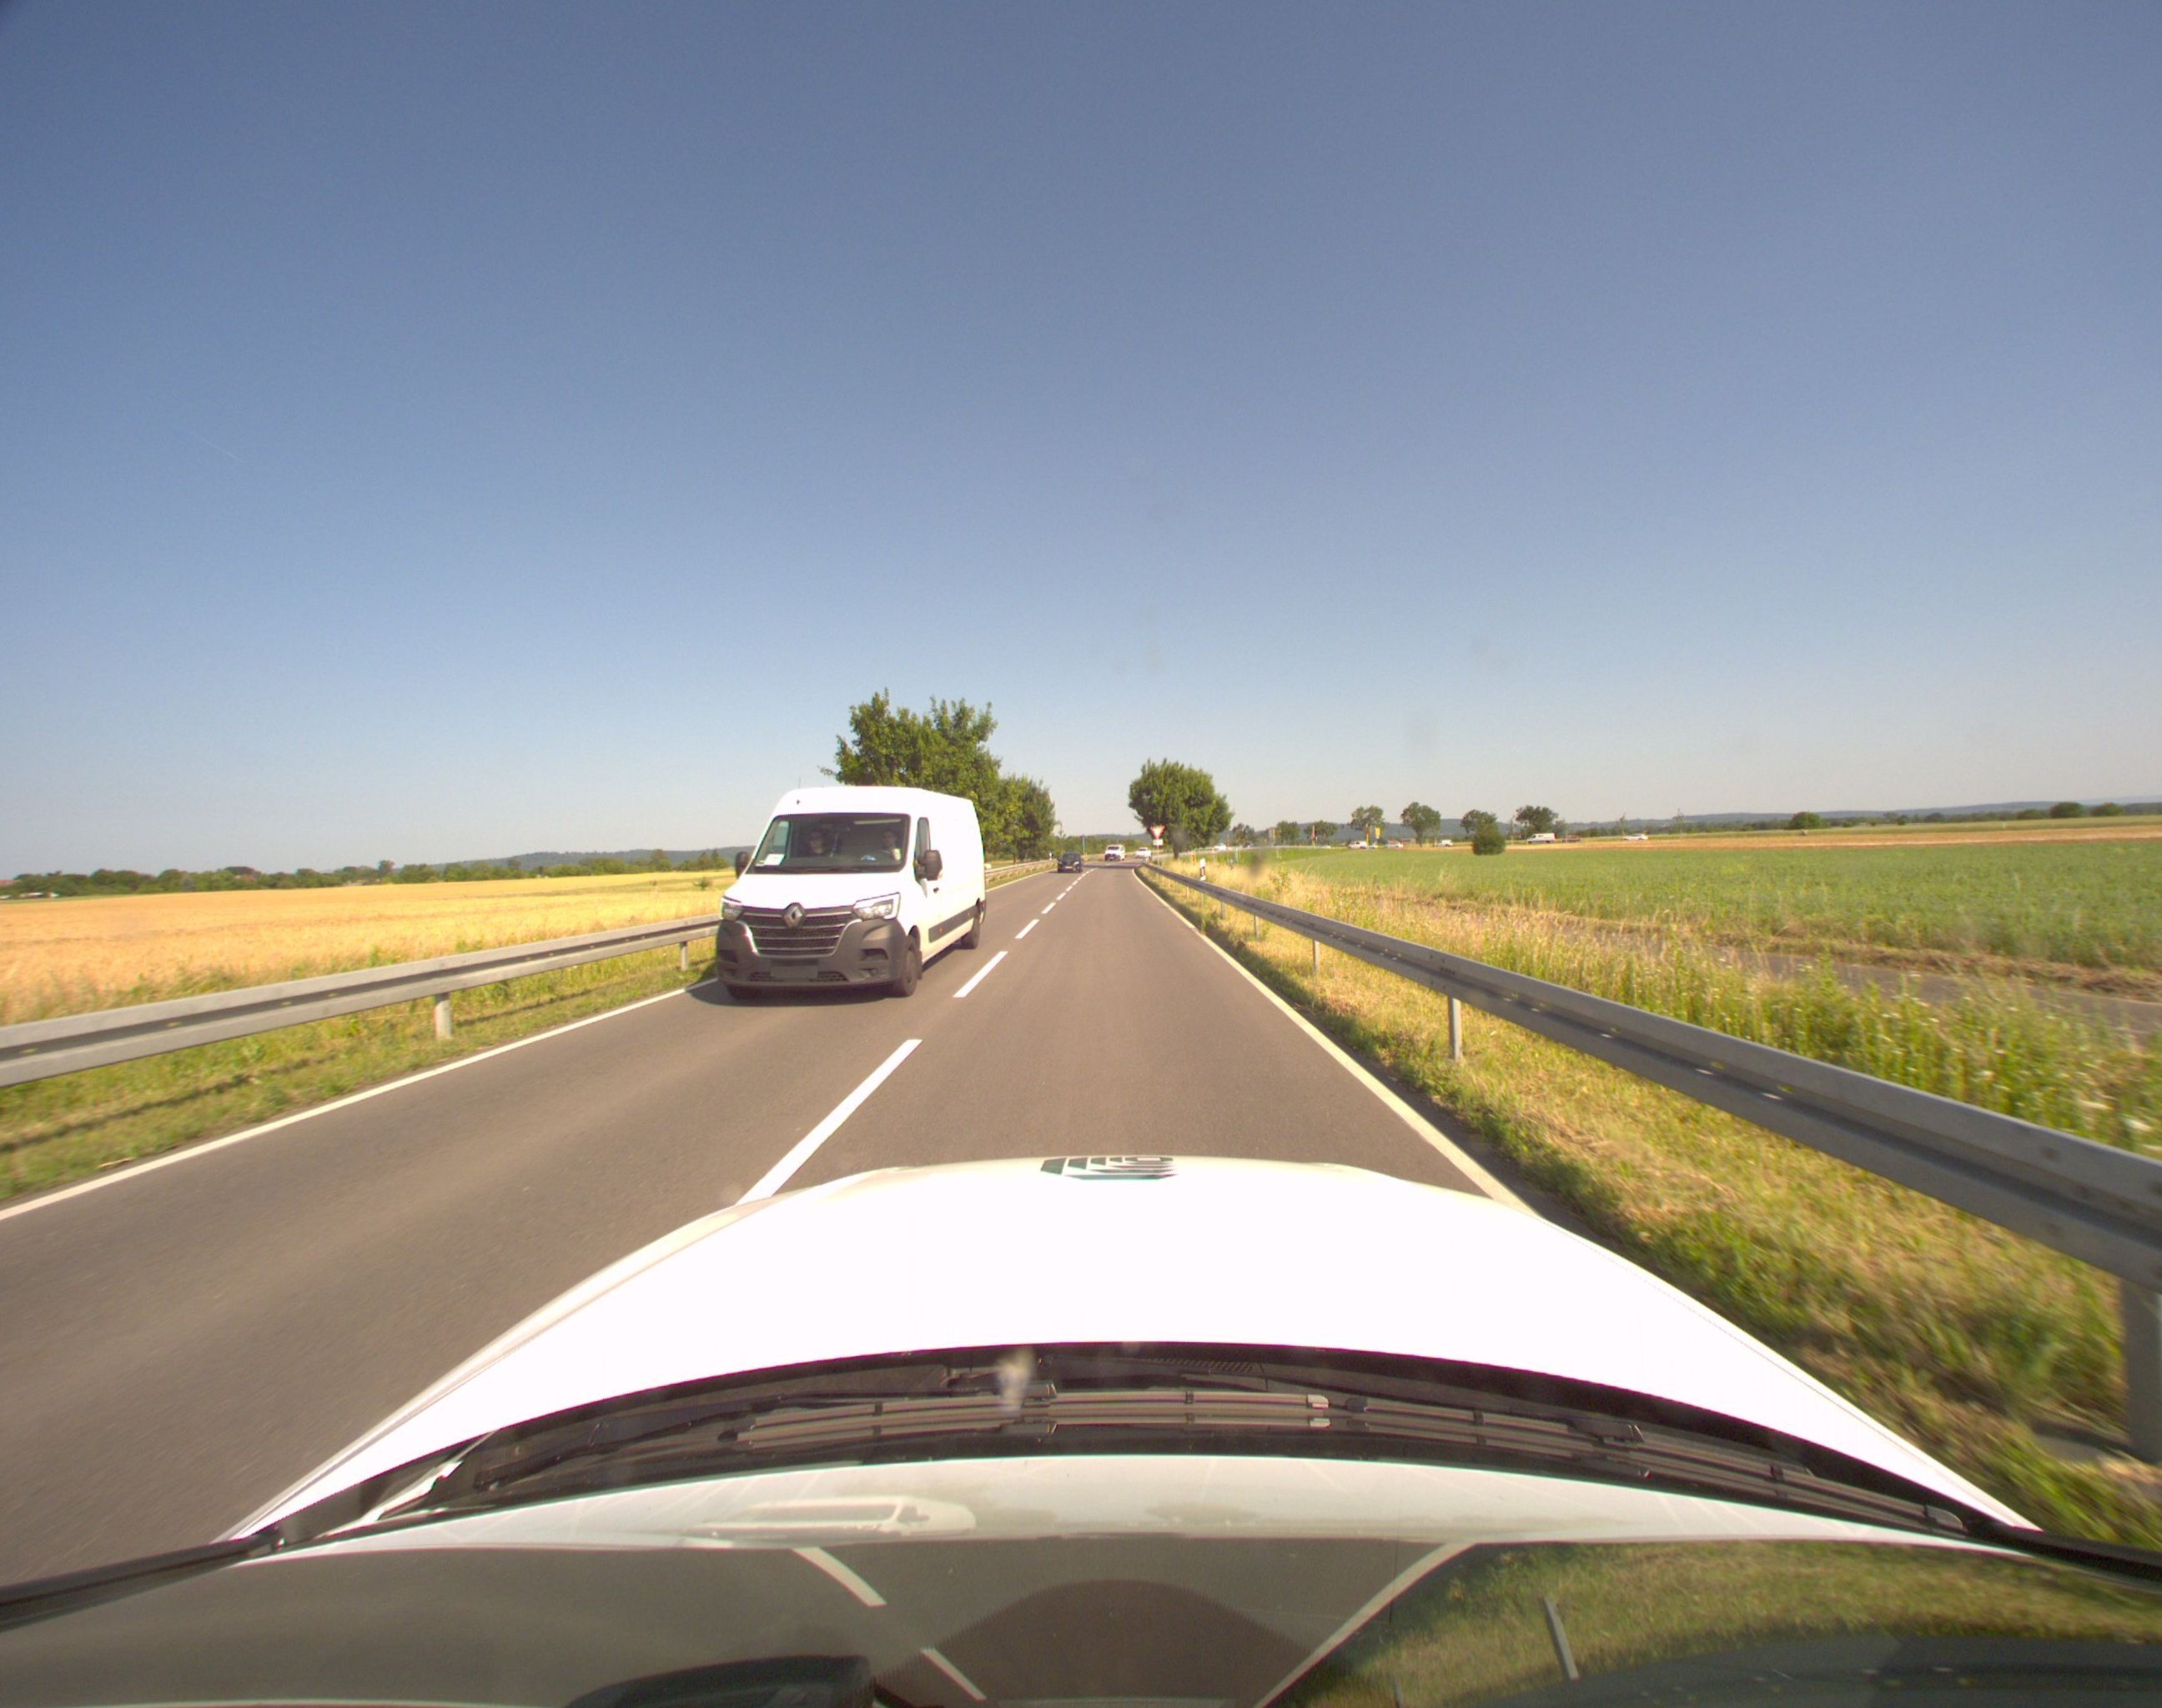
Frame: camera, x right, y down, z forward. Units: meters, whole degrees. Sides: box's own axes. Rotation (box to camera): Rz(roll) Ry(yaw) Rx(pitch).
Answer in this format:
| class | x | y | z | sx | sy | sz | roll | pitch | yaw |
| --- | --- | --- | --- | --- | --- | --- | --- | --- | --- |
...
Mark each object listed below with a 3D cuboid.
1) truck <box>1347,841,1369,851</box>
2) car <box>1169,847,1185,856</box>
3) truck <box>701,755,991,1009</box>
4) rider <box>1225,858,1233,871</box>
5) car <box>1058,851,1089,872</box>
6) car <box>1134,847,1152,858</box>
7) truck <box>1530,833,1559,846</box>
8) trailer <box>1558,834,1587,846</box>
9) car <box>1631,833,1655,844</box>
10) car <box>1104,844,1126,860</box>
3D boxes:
| class | x | y | z | sx | sy | sz | roll | pitch | yaw |
| --- | --- | --- | --- | --- | --- | --- | --- | --- | --- |
| truck | 71.643 | -1.990 | 210.335 | 5.001 | 2.529 | 2.012 | -1 | -1 | 32 |
| car | 16.878 | -0.495 | 142.954 | 1.978 | 1.532 | 4.611 | 0 | 0 | 16 |
| truck | -2.720 | 0.278 | 11.347 | 1.986 | 2.520 | 6.246 | -1 | 0 | 2 |
| rider | 18.415 | 1.327 | 101.492 | 0.604 | 1.527 | 1.835 | -1 | -1 | 22 |
| car | -0.510 | 0.527 | 58.538 | 1.634 | 1.471 | 3.816 | -1 | 0 | 9 |
| car | 9.042 | -0.244 | 118.864 | 1.889 | 1.532 | 4.608 | 0 | 0 | 14 |
| truck | 104.933 | -3.193 | 184.409 | 5.526 | 2.695 | 3.315 | -1 | -1 | 34 |
| trailer | 109.467 | -3.114 | 181.288 | 5.390 | 2.354 | 3.376 | -1 | -1 | 34 |
| car | 118.996 | -3.277 | 172.514 | 3.948 | 2.014 | 2.013 | -3 | -1 | 39 |
| car | 4.214 | -0.290 | 99.952 | 1.980 | 1.884 | 4.607 | 0 | 0 | 13 |
